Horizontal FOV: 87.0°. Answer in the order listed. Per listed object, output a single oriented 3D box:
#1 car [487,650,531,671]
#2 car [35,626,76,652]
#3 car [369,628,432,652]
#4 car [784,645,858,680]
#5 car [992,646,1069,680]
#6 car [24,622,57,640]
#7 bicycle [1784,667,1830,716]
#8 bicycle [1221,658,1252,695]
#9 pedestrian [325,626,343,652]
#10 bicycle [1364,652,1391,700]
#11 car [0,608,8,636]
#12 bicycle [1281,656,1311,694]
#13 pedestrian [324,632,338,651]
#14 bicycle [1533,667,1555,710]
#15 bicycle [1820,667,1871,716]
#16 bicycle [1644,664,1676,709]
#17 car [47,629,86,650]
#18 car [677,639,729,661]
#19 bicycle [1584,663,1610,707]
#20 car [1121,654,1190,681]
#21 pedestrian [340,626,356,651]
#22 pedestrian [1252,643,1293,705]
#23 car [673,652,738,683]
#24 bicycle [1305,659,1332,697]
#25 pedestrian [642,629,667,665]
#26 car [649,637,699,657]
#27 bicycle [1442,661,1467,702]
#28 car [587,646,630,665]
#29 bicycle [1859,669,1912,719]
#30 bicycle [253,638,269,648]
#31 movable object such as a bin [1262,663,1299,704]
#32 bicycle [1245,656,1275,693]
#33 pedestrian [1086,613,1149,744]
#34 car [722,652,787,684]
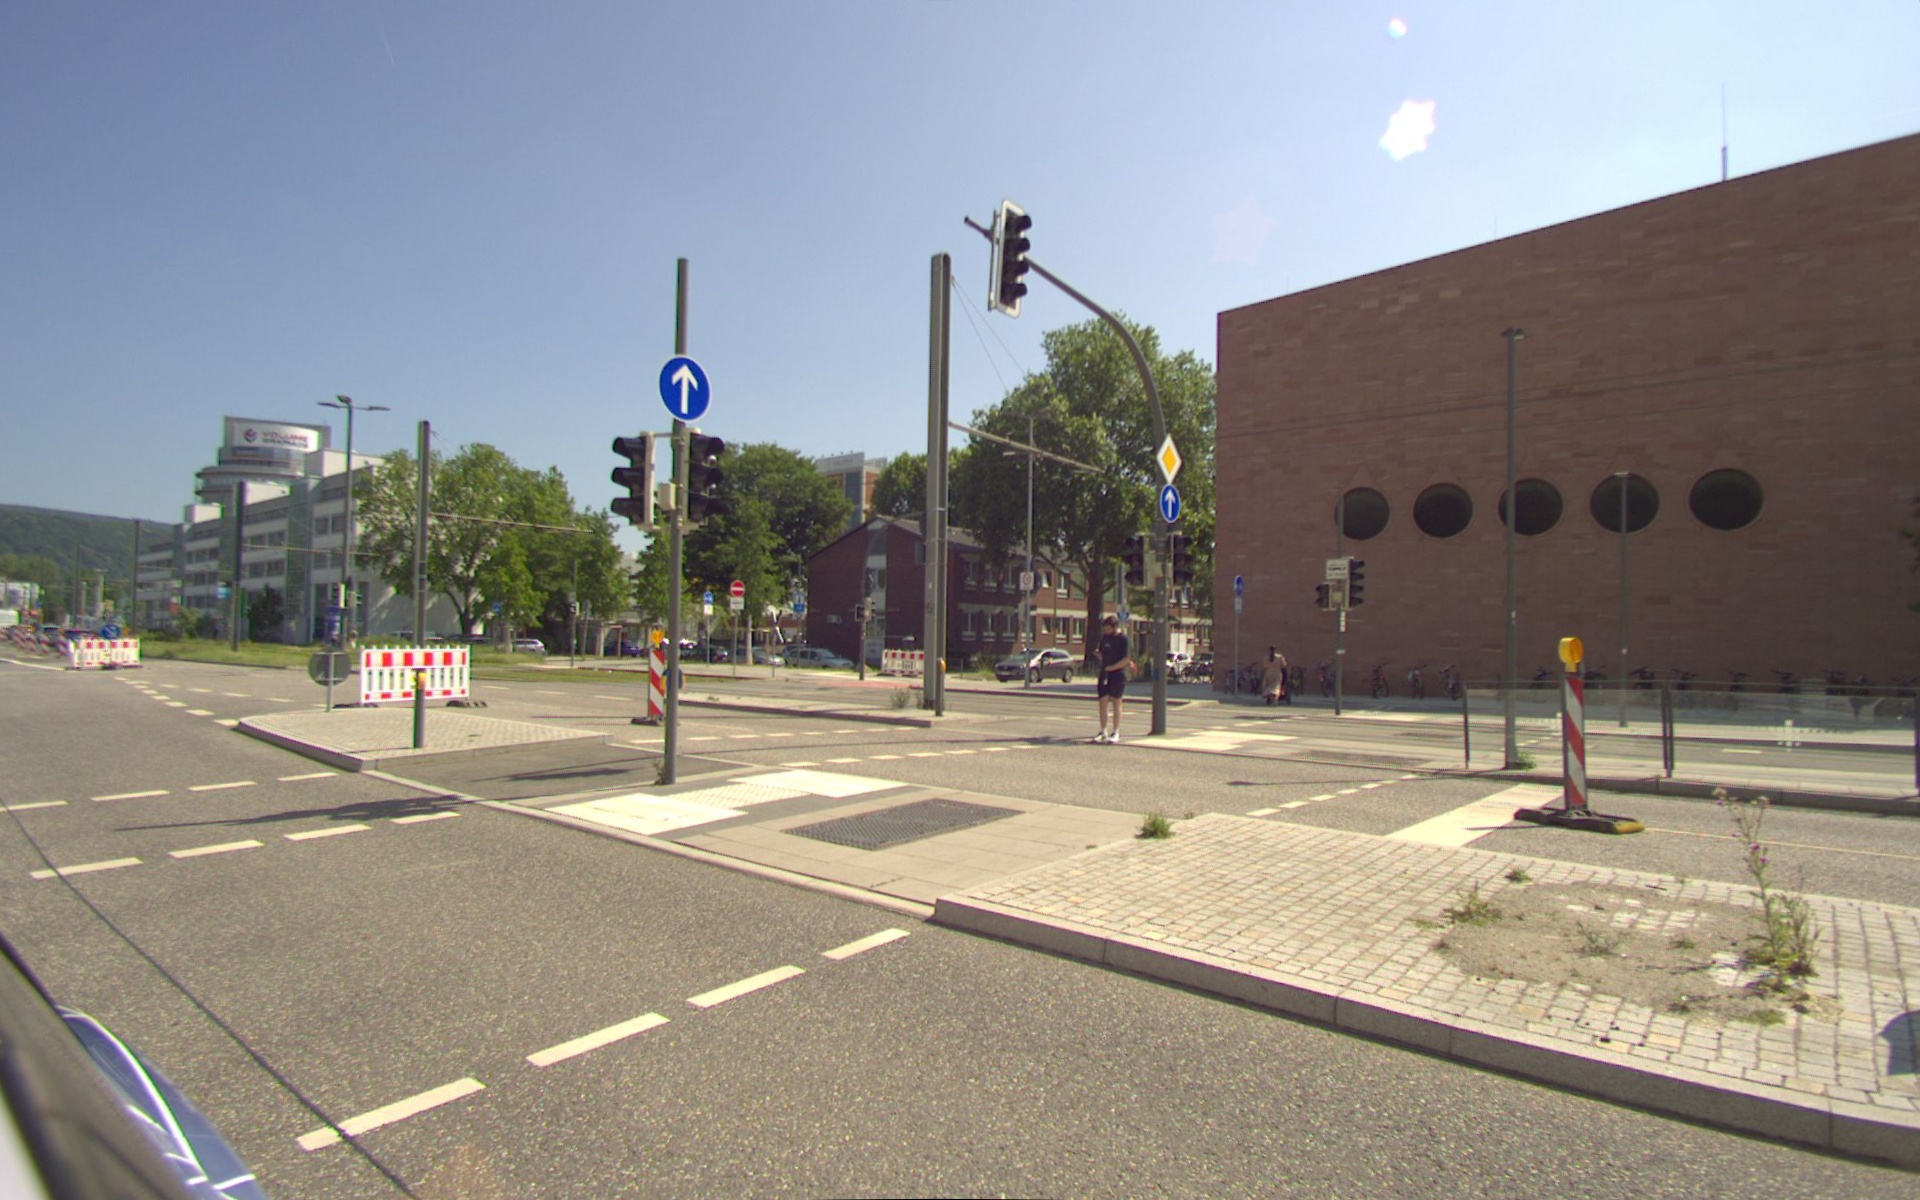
[{"bbox_3d":[-37.168,4.986,83.347,3.630,1.603,1.752,-1,-2,36],"label":"car"},{"bbox_3d":[-56.128,2.379,62.800,4.292,1.438,1.610,0,0,45],"label":"car"},{"bbox_3d":[-53.371,3.819,96.629,4.988,2.196,2.121,2,-3,-22],"label":"car"},{"bbox_3d":[-7.782,3.466,56.461,4.299,1.774,1.680,0,-3,41],"label":"car"},{"bbox_3d":[3.027,2.674,43.151,1.572,1.380,3.443,-2,-3,39],"label":"car"},{"bbox_3d":[-82.819,2.771,91.127,4.468,1.454,1.655,-1,-5,42],"label":"car"},{"bbox_3d":[22.322,2.389,26.693,0.537,1.221,2.037,-1,-3,30],"label":"bicycle"},{"bbox_3d":[9.548,2.618,34.882,0.537,1.221,2.037,-1,-3,30],"label":"bicycle"},{"bbox_3d":[-49.486,3.086,80.022,0.910,2.029,0.972,-2,-3,43],"label":"pedestrian"},{"bbox_3d":[13.422,2.415,32.487,0.537,1.464,2.037,-1,-3,30],"label":"bicycle"},{"bbox_3d":[-98.322,2.150,102.491,5.984,2.761,2.055,-1,-5,42],"label":"car"},{"bbox_3d":[11.189,2.488,33.667,0.537,1.221,2.037,-1,-3,30],"label":"bicycle"},{"bbox_3d":[-52.520,3.487,84.514,0.805,1.588,0.827,2,-3,-44],"label":"pedestrian"},{"bbox_3d":[17.416,2.619,30.206,0.537,1.221,2.037,-1,-3,30],"label":"bicycle"},{"bbox_3d":[23.293,2.388,26.659,0.745,1.221,1.868,-1,-3,33],"label":"bicycle"},{"bbox_3d":[19.947,2.447,28.865,0.537,1.221,2.037,-1,-3,30],"label":"bicycle"},{"bbox_3d":[-66.214,2.925,74.947,4.294,1.427,1.563,-1,-4,41],"label":"car"},{"bbox_3d":[-18.421,3.570,72.535,3.781,1.468,1.524,-1,-3,37],"label":"car"},{"bbox_3d":[18.570,2.461,29.532,0.537,1.221,2.037,-1,-3,30],"label":"bicycle"},{"bbox_3d":[11.151,3.816,57.549,3.940,1.413,2.001,3,-3,-44],"label":"car"},{"bbox_3d":[-48.832,3.071,80.798,0.983,2.029,0.830,-2,-3,43],"label":"pedestrian"},{"bbox_3d":[8.066,1.894,26.110,0.791,1.574,0.922,-1,-3,31],"label":"pedestrian"},{"bbox_3d":[-16.158,4.241,64.087,4.528,1.774,1.680,0,-3,41],"label":"car"},{"bbox_3d":[11.804,2.546,33.322,0.537,1.221,2.038,-1,-3,28],"label":"bicycle"},{"bbox_3d":[-16.012,2.470,53.039,0.802,1.861,1.108,3,-4,-43],"label":"pedestrian"},{"bbox_3d":[-21.686,3.526,76.612,4.265,1.468,1.522,-2,-4,41],"label":"car"},{"bbox_3d":[15.398,2.503,31.490,0.537,1.221,2.037,-1,-3,30],"label":"bicycle"},{"bbox_3d":[-30.318,4.769,87.359,3.630,1.603,1.752,-1,-2,36],"label":"car"},{"bbox_3d":[23.977,2.409,26.248,0.537,1.221,2.037,-1,-3,30],"label":"bicycle"},{"bbox_3d":[-86.228,5.341,124.826,1.627,1.198,0.438,2,-3,-44],"label":"bicycle"},{"bbox_3d":[8.486,2.210,26.808,0.791,1.039,0.707,-1,-3,32],"label":"movable object such as a bin"},{"bbox_3d":[10.223,2.532,34.491,0.537,1.221,2.037,-1,-3,30],"label":"bicycle"},{"bbox_3d":[2.299,1.126,14.770,0.661,1.847,0.645,-3,-4,45],"label":"pedestrian"},{"bbox_3d":[-12.237,4.014,60.164,3.938,1.774,1.680,0,-3,41],"label":"car"}]
